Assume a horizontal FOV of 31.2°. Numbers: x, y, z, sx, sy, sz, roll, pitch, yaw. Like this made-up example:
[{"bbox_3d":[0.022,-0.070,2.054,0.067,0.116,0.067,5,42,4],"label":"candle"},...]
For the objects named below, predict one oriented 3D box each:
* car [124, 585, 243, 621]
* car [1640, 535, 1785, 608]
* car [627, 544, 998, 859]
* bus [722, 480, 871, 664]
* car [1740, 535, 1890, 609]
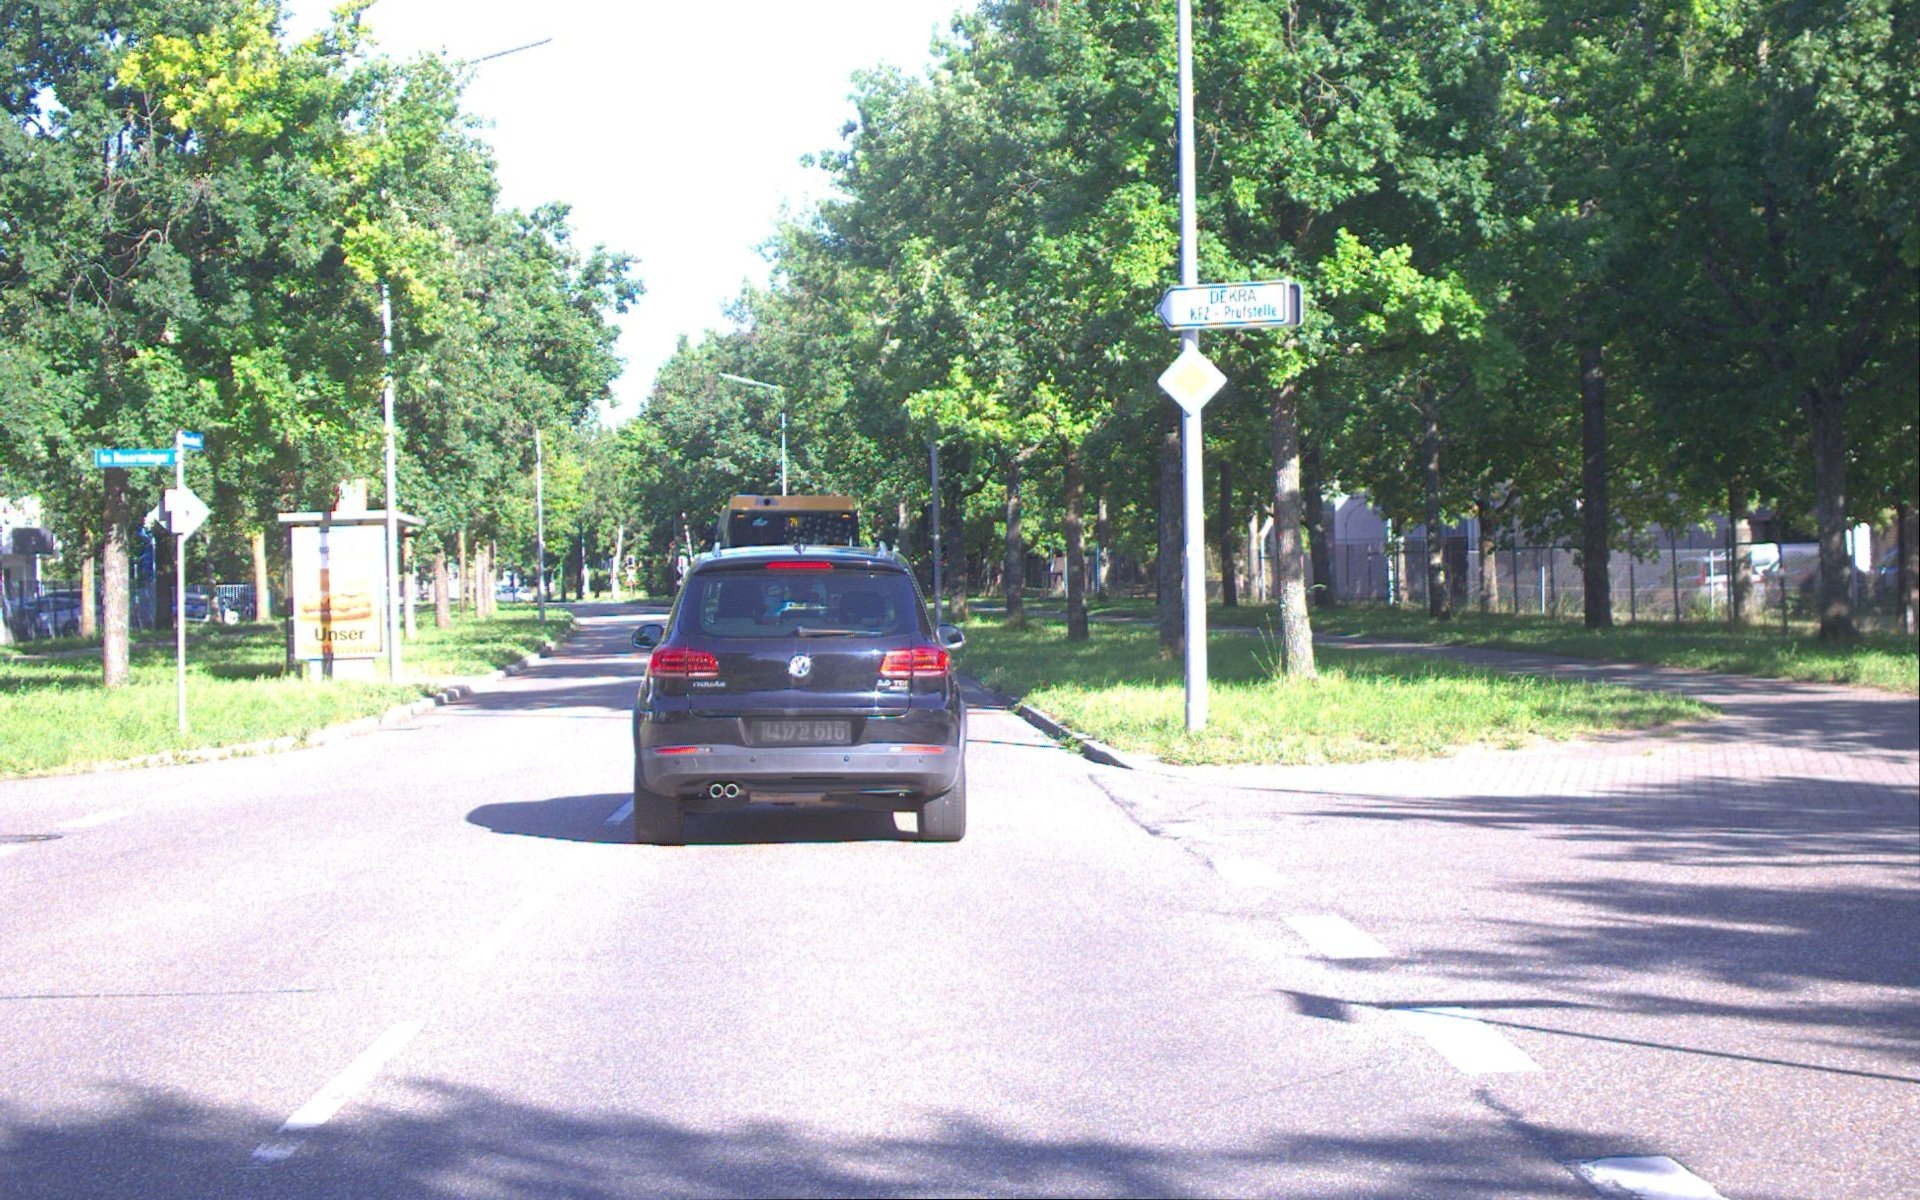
[{"bbox_3d":[-30.536,0.105,135.286,4.198,1.317,1.941,-1,1,2],"label":"car"},{"bbox_3d":[18.636,-0.712,85.392,2.184,1.738,4.642,-1,1,-5],"label":"car"},{"bbox_3d":[-0.954,0.503,20.237,1.935,1.650,4.428,0,1,-5],"label":"car"},{"bbox_3d":[-3.438,-0.597,71.149,2.764,3.445,11.212,-1,1,-3],"label":"bus"},{"bbox_3d":[21.188,-0.707,85.426,2.184,1.738,4.642,-1,1,-5],"label":"car"}]
